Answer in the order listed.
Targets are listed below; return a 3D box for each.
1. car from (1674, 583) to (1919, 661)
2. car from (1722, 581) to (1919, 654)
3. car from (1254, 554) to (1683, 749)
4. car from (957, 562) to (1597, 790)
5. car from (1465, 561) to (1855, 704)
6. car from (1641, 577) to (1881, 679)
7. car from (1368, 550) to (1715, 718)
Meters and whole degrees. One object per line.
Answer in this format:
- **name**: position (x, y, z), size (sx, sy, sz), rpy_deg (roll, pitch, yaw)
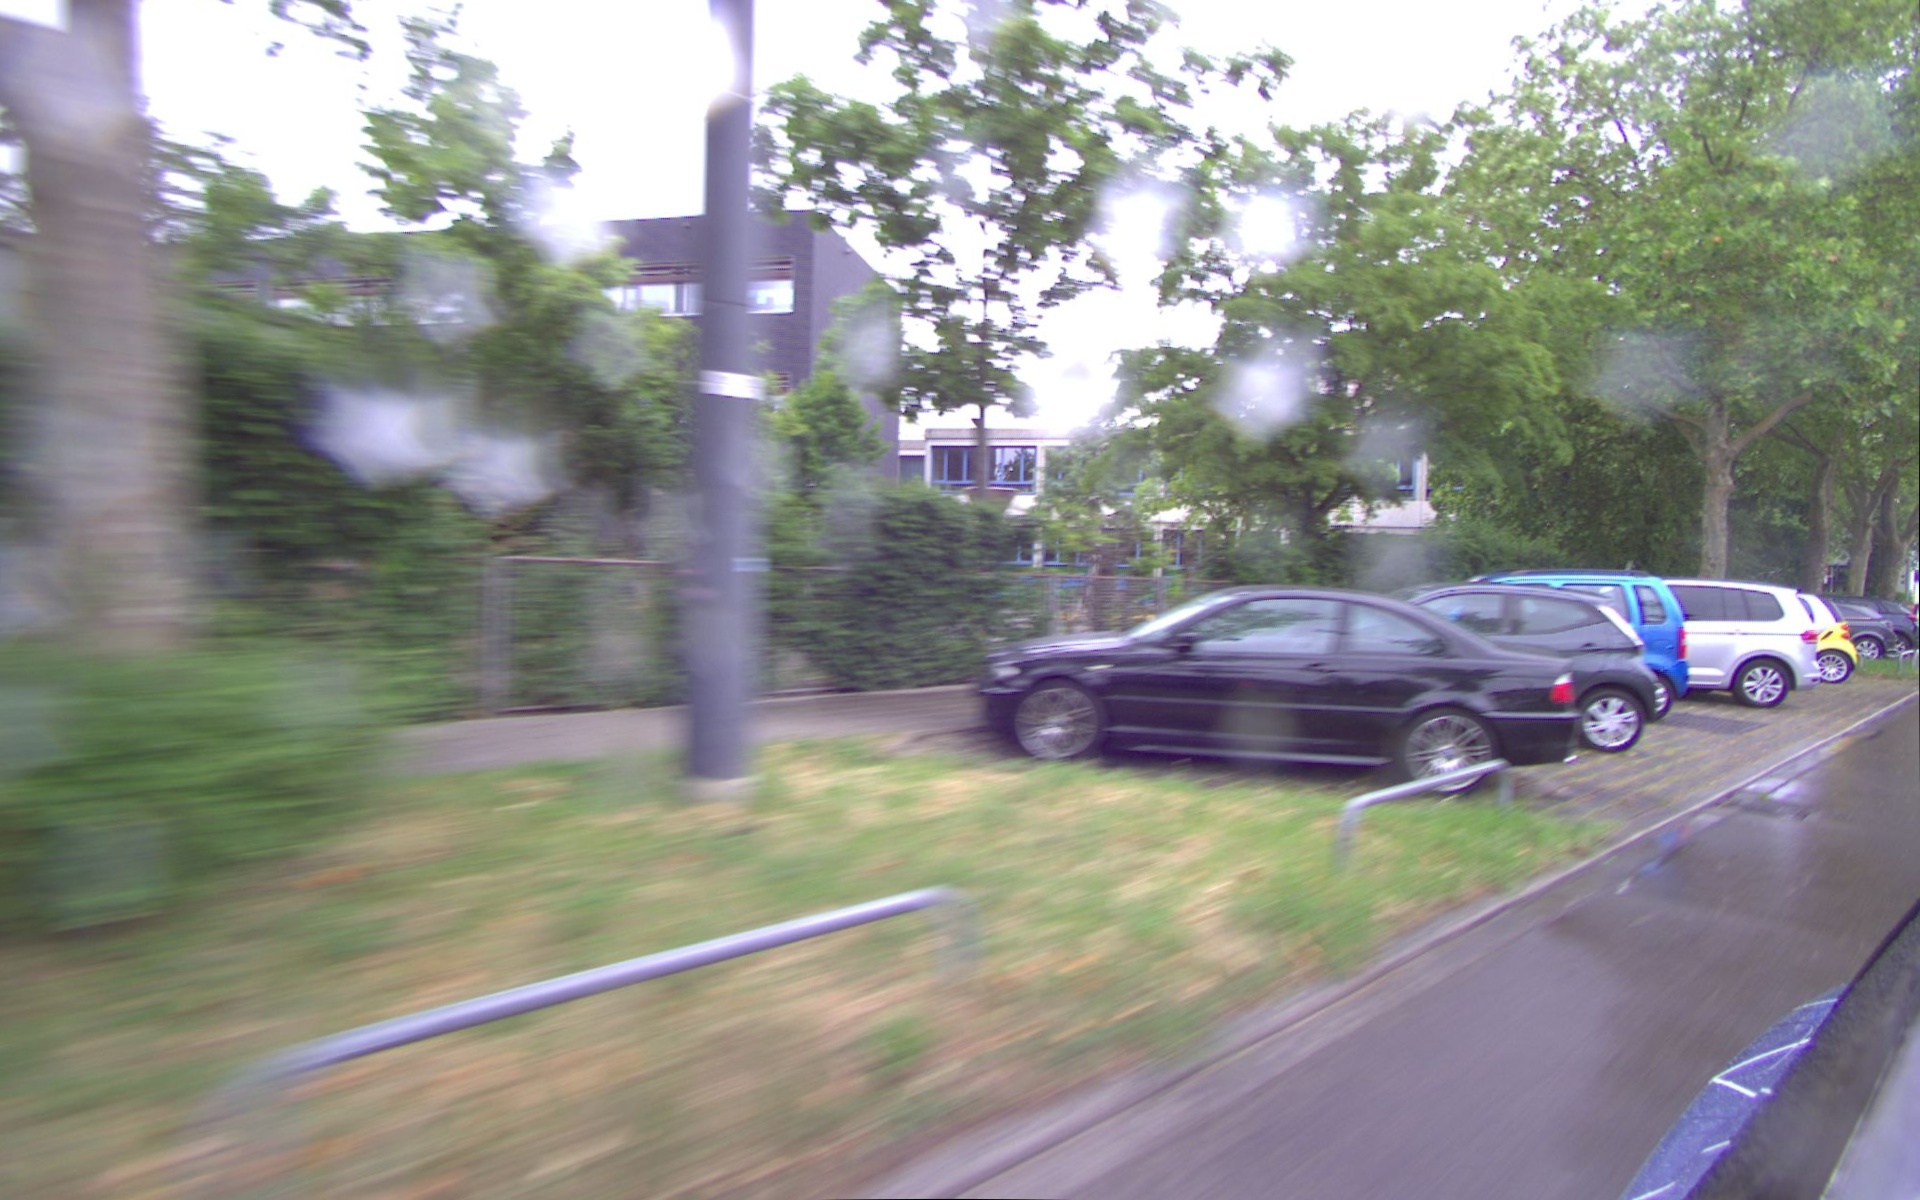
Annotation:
- **car**: position (19.305, 0.470, 23.498), size (4.002, 1.435, 1.736), rpy_deg (3, 3, 13)
- **car**: position (21.882, 0.404, 25.495), size (3.753, 1.551, 1.874), rpy_deg (4, 2, 17)
- **car**: position (4.787, 0.394, 10.080), size (3.353, 1.536, 1.844), rpy_deg (3, 3, 12)
- **car**: position (2.220, 0.470, 7.884), size (4.236, 1.401, 1.736), rpy_deg (2, 1, 10)
- **car**: position (9.405, 0.364, 13.939), size (3.985, 1.661, 1.649), rpy_deg (2, 2, 12)
- **car**: position (14.052, 0.438, 17.944), size (2.870, 1.484, 1.593), rpy_deg (4, 3, 21)
- **car**: position (6.843, 0.318, 12.282), size (3.229, 1.691, 1.586), rpy_deg (4, 3, 16)
